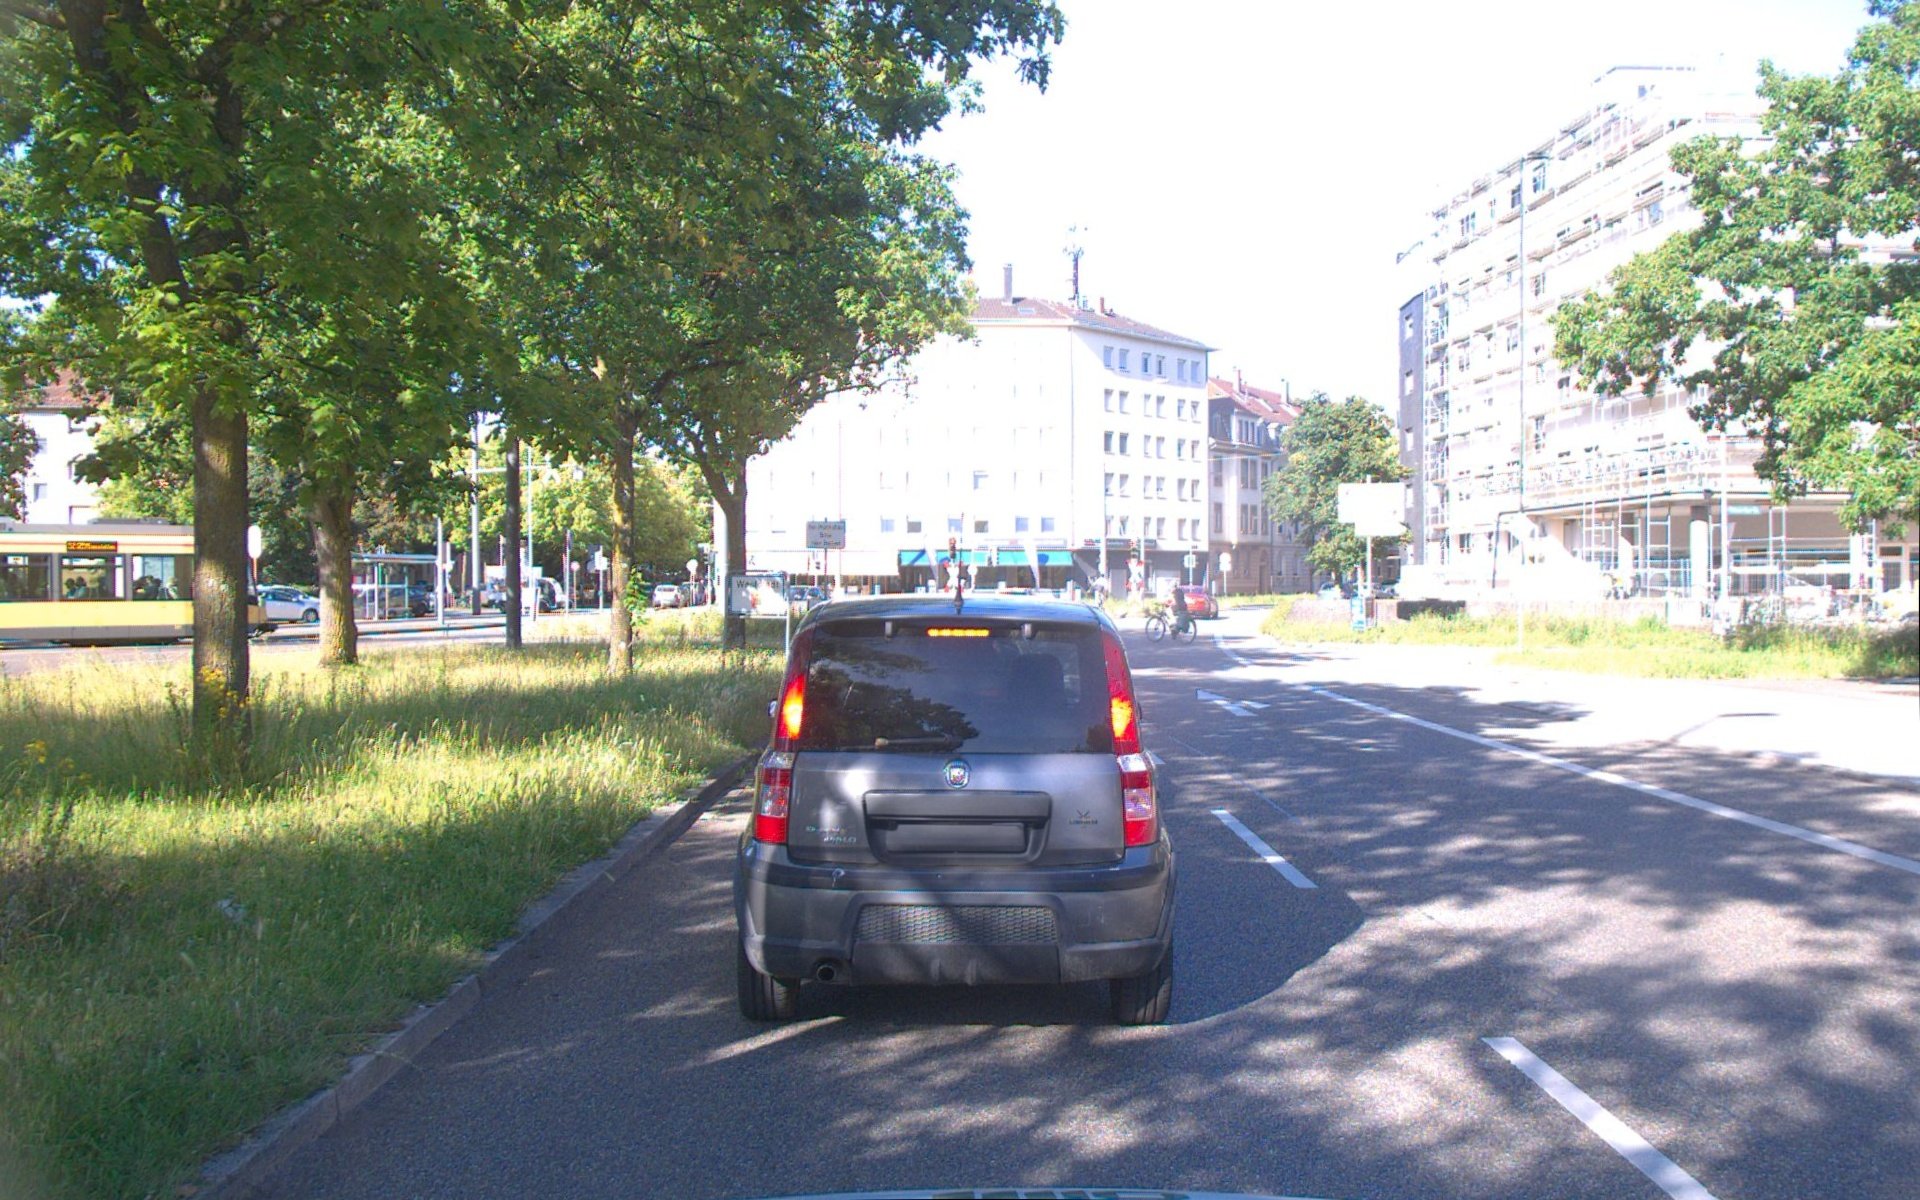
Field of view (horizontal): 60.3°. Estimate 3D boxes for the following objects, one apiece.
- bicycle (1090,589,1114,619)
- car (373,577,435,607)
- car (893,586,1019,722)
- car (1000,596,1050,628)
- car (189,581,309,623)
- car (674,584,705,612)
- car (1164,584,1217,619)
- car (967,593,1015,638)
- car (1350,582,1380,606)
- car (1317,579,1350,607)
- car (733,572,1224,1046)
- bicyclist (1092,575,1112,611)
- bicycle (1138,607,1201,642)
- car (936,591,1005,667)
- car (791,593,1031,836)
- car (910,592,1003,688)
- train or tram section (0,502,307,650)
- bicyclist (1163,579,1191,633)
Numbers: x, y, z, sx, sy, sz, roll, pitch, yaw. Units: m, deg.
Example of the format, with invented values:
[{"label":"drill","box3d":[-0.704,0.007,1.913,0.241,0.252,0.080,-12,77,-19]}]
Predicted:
[{"label":"bicycle","box3d":[5.964,0.170,69.663,0.694,1.219,2.519,1,0,-2]},{"label":"car","box3d":[-38.948,-0.555,115.832,3.940,2.049,1.983,-1,0,-27]},{"label":"car","box3d":[-0.070,0.602,20.664,1.434,1.534,3.504,0,1,-1]},{"label":"car","box3d":[2.285,0.402,57.694,1.118,1.083,2.723,0,1,17]},{"label":"car","box3d":[-29.954,0.051,69.774,1.961,1.713,4.302,0,1,38]},{"label":"car","box3d":[-20.156,-0.150,123.276,1.954,2.049,3.996,0,1,-5]},{"label":"car","box3d":[9.985,0.030,71.352,1.847,1.453,4.390,0,1,14]},{"label":"car","box3d":[0.919,0.443,49.604,1.328,1.304,2.875,0,1,-1]},{"label":"car","box3d":[23.114,-0.336,94.372,1.495,1.337,3.289,0,1,17]},{"label":"car","box3d":[20.504,-0.392,90.706,1.646,1.475,3.574,0,1,15]},{"label":"car","box3d":[0.034,0.658,7.404,1.595,1.534,3.999,0,1,-1]},{"label":"bicyclist","box3d":[5.962,-0.290,69.545,0.726,1.463,0.845,1,0,-1]},{"label":"bicycle","box3d":[5.897,0.687,46.599,1.763,0.961,0.557,0,1,42]},{"label":"car","box3d":[0.179,0.555,33.853,1.328,1.475,3.265,0,0,-1]},{"label":"car","box3d":[-0.316,0.680,11.620,1.434,1.425,3.393,0,1,-1]},{"label":"car","box3d":[-0.079,0.608,27.270,1.434,1.449,3.381,0,1,-1]},{"label":"train or tram section","box3d":[-27.976,-0.602,42.674,20.576,3.836,3.265,-1,1,-36]},{"label":"bicyclist","box3d":[6.086,0.168,46.428,0.575,1.519,0.547,0,0,40]}]
